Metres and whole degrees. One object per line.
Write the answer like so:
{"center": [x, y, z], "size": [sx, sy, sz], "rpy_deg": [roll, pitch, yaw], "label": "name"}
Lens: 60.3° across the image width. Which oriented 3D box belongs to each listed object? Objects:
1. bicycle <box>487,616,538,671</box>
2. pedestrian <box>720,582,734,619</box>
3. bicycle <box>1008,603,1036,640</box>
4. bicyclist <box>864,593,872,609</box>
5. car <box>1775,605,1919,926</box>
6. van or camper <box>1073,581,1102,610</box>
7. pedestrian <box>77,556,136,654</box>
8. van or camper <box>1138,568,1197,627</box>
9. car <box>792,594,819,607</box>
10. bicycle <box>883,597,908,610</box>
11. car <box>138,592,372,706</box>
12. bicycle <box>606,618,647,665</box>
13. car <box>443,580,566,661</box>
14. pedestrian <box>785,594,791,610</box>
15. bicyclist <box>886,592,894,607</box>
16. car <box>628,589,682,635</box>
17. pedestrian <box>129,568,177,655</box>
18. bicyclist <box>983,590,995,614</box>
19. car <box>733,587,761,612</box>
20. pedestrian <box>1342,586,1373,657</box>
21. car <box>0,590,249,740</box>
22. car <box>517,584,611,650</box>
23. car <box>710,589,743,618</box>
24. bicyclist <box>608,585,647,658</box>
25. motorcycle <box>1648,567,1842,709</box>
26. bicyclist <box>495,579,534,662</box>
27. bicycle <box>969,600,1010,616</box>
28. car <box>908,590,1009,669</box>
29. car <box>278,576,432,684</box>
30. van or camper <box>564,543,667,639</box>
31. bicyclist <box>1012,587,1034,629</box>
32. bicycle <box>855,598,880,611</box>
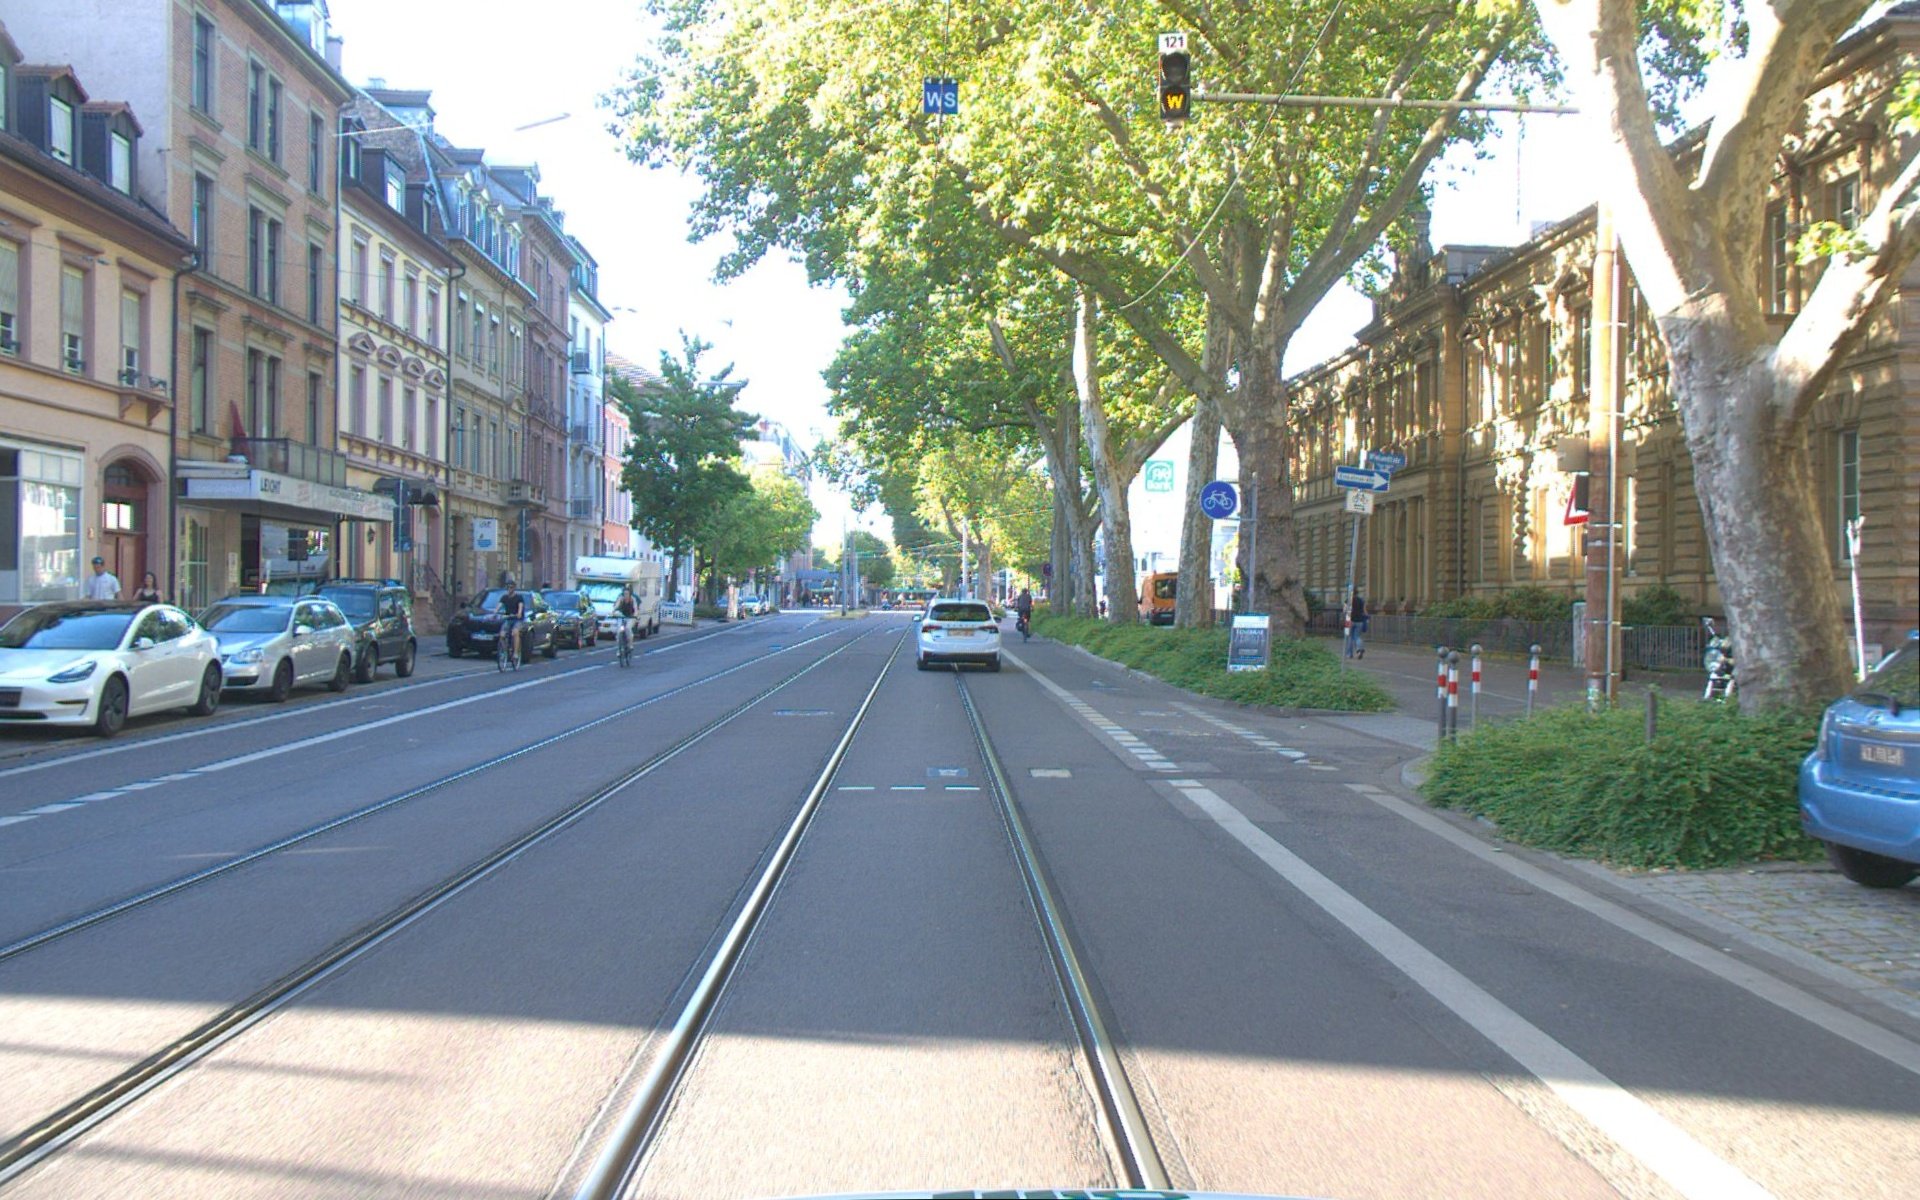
{"center": [-9.147, 0.873, 33.834], "size": [0.475, 1.066, 2.039], "rpy_deg": [-1, 0, 0], "label": "bicycle"}
{"center": [-12.915, 0.017, 91.625], "size": [0.588, 2.037, 0.750], "rpy_deg": [1, 0, 2], "label": "pedestrian"}
{"center": [2.049, 0.705, 54.880], "size": [0.666, 1.175, 2.963], "rpy_deg": [2, 0, -2], "label": "bicycle"}
{"center": [-9.356, 0.095, 167.766], "size": [0.626, 1.549, 0.602], "rpy_deg": [-1, 1, -37], "label": "bicyclist"}
{"center": [6.451, 0.806, 8.550], "size": [3.675, 1.534, 1.681], "rpy_deg": [0, 0, -2], "label": "car"}
{"center": [10.822, -0.391, 140.487], "size": [1.953, 2.384, 3.999], "rpy_deg": [2, 0, -1], "label": "van or camper"}
{"center": [-14.827, 0.092, 28.748], "size": [0.760, 1.662, 0.654], "rpy_deg": [2, 0, -18], "label": "pedestrian"}
{"center": [9.337, -0.102, 74.758], "size": [1.986, 2.507, 5.108], "rpy_deg": [2, 0, 0], "label": "van or camper"}
{"center": [-22.670, 0.046, 243.118], "size": [3.713, 1.850, 1.804], "rpy_deg": [2, 0, 4], "label": "car"}
{"center": [-6.598, 0.377, 169.841], "size": [2.660, 1.351, 0.607], "rpy_deg": [0, 0, -37], "label": "bicycle"}
{"center": [-10.511, 0.662, 25.035], "size": [1.791, 1.529, 4.447], "rpy_deg": [2, 0, -3], "label": "car"}
{"center": [-7.147, 0.877, 35.511], "size": [0.488, 0.959, 1.921], "rpy_deg": [-1, 0, 0], "label": "bicycle"}
{"center": [-11.302, 0.471, 41.395], "size": [1.925, 1.812, 4.934], "rpy_deg": [3, 0, -4], "label": "car"}
{"center": [-17.021, 0.181, 164.095], "size": [0.502, 1.573, 0.463], "rpy_deg": [2, 0, -2], "label": "pedestrian"}
{"center": [-7.147, -0.022, 169.442], "size": [0.626, 1.549, 0.602], "rpy_deg": [-1, 1, -37], "label": "bicyclist"}
{"center": [-12.118, 0.452, 65.818], "size": [1.608, 1.756, 3.781], "rpy_deg": [1, 0, -4], "label": "car"}
{"center": [-14.124, 0.201, 28.960], "size": [0.625, 1.486, 0.654], "rpy_deg": [2, 0, -18], "label": "pedestrian"}
{"center": [1.962, 0.145, 113.013], "size": [0.721, 1.617, 0.587], "rpy_deg": [0, 0, 10], "label": "bicyclist"}
{"center": [-15.767, -0.025, 122.376], "size": [1.758, 1.756, 3.781], "rpy_deg": [1, 0, -4], "label": "car"}
{"center": [9.525, 0.521, 39.639], "size": [0.634, 1.661, 0.872], "rpy_deg": [1, 0, 17], "label": "pedestrian"}
{"center": [-10.237, 0.673, 19.665], "size": [1.791, 1.529, 4.684], "rpy_deg": [2, 0, -4], "label": "car"}
{"center": [-11.708, 0.477, 49.213], "size": [1.925, 1.812, 4.467], "rpy_deg": [1, 0, -4], "label": "car"}
{"center": [-14.293, 0.203, 101.359], "size": [1.608, 1.756, 3.781], "rpy_deg": [1, 0, -4], "label": "car"}
{"center": [-7.127, 0.457, 35.521], "size": [0.625, 1.529, 1.069], "rpy_deg": [-1, 0, -1], "label": "bicyclist"}
{"center": [7.253, 0.358, 15.243], "size": [2.141, 1.249, 0.470], "rpy_deg": [2, 0, -30], "label": "motorcycle"}
{"center": [-9.142, 0.418, 33.979], "size": [0.524, 1.663, 0.896], "rpy_deg": [-2, 0, 0], "label": "bicyclist"}
{"center": [1.985, 0.548, 113.031], "size": [2.711, 1.017, 0.593], "rpy_deg": [2, 0, 12], "label": "bicycle"}
{"center": [-0.084, 0.584, 34.419], "size": [1.806, 1.506, 3.835], "rpy_deg": [1, 0, -4], "label": "car"}
{"center": [-10.751, 0.496, 29.650], "size": [1.524, 1.762, 3.683], "rpy_deg": [2, 0, -3], "label": "car"}
{"center": [-12.235, -0.311, 59.230], "size": [2.171, 3.195, 7.112], "rpy_deg": [1, 0, 0], "label": "van or camper"}
{"center": [2.078, 0.268, 54.640], "size": [0.665, 1.362, 0.525], "rpy_deg": [2, 0, -2], "label": "bicyclist"}
{"center": [-9.378, 0.460, 167.727], "size": [2.660, 1.351, 0.607], "rpy_deg": [0, 0, -37], "label": "bicycle"}
